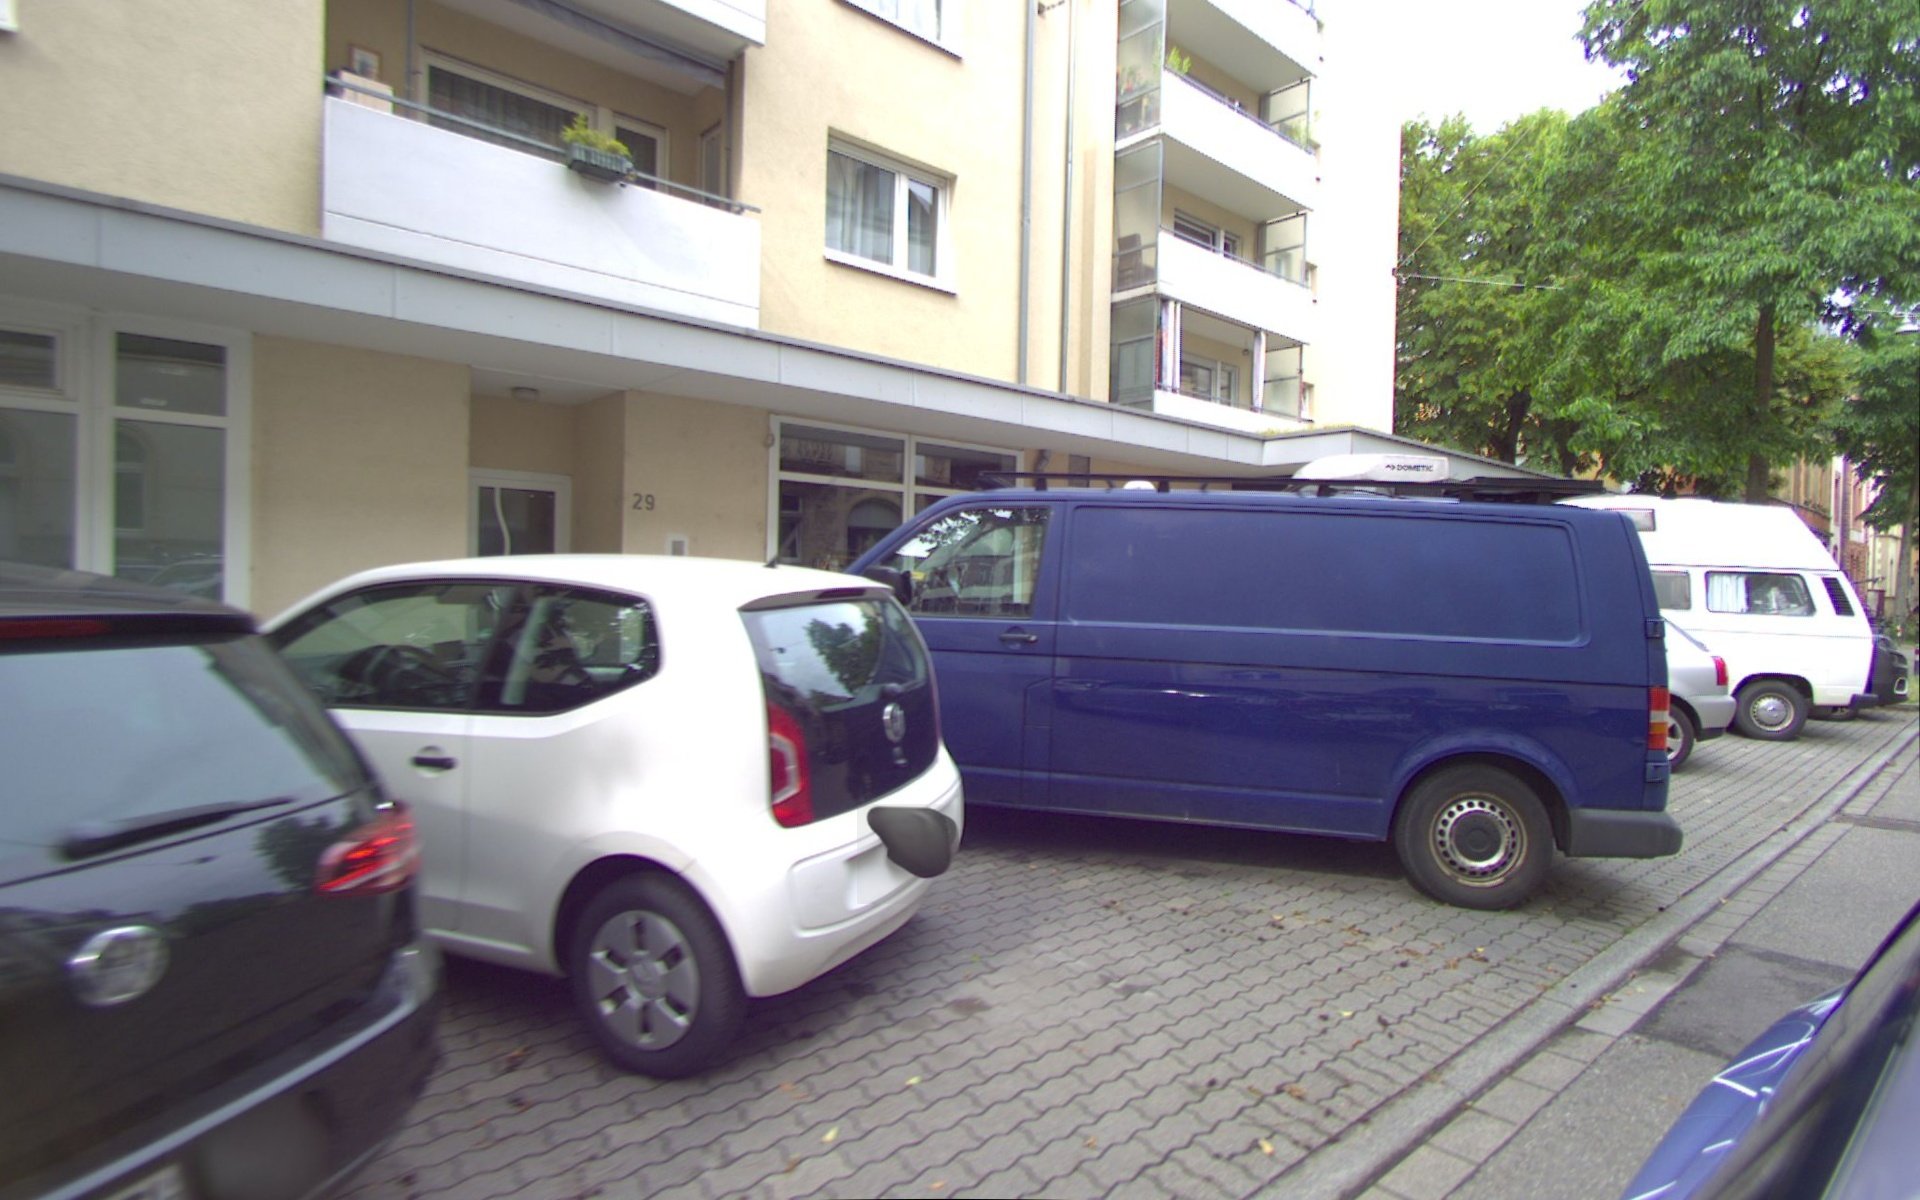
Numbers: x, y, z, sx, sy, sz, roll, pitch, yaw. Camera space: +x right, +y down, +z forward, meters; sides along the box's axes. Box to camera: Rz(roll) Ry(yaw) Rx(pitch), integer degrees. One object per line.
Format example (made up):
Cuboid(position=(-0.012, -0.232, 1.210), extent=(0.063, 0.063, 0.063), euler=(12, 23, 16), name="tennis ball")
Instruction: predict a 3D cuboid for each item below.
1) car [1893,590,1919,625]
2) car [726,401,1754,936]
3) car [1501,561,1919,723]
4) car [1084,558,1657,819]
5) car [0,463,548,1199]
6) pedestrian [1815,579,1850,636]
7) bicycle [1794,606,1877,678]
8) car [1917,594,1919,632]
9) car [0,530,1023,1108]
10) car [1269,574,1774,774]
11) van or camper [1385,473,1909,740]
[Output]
Cuboid(position=(43.915, 0.438, 44.072), extent=(4.383, 1.444, 1.751), euler=(3, 3, 16), name="car")
Cuboid(position=(1.278, 0.186, 5.855), extent=(4.633, 2.223, 2.061), euler=(3, 2, 11), name="car")
Cuboid(position=(9.728, 0.447, 13.452), extent=(4.299, 1.877, 1.895), euler=(1, 1, 25), name="car")
Cuboid(position=(2.917, 0.532, 7.819), extent=(3.617, 1.498, 1.680), euler=(4, 2, 16), name="car")
Cuboid(position=(-3.227, 0.472, 2.211), extent=(4.056, 1.460, 1.844), euler=(2, 2, 16), name="car")
Cuboid(position=(28.618, 0.236, 33.200), extent=(0.500, 1.819, 0.781), euler=(1, 0, -39), name="pedestrian")
Cuboid(position=(14.832, 0.686, 17.183), extent=(0.602, 1.108, 1.769), euler=(1, 1, 26), name="bicycle")
Cuboid(position=(38.761, 0.519, 39.371), extent=(4.402, 1.504, 1.768), euler=(0, 3, -42), name="car")
Cuboid(position=(-1.858, 0.507, 4.181), extent=(3.866, 1.483, 1.813), euler=(2, 2, 21), name="car")
Cuboid(position=(4.990, 0.581, 9.587), extent=(3.761, 1.435, 1.718), euler=(4, 2, 14), name="car")
Cuboid(position=(7.435, 0.018, 11.563), extent=(4.534, 2.628, 1.901), euler=(1, 0, 17), name="van or camper")
